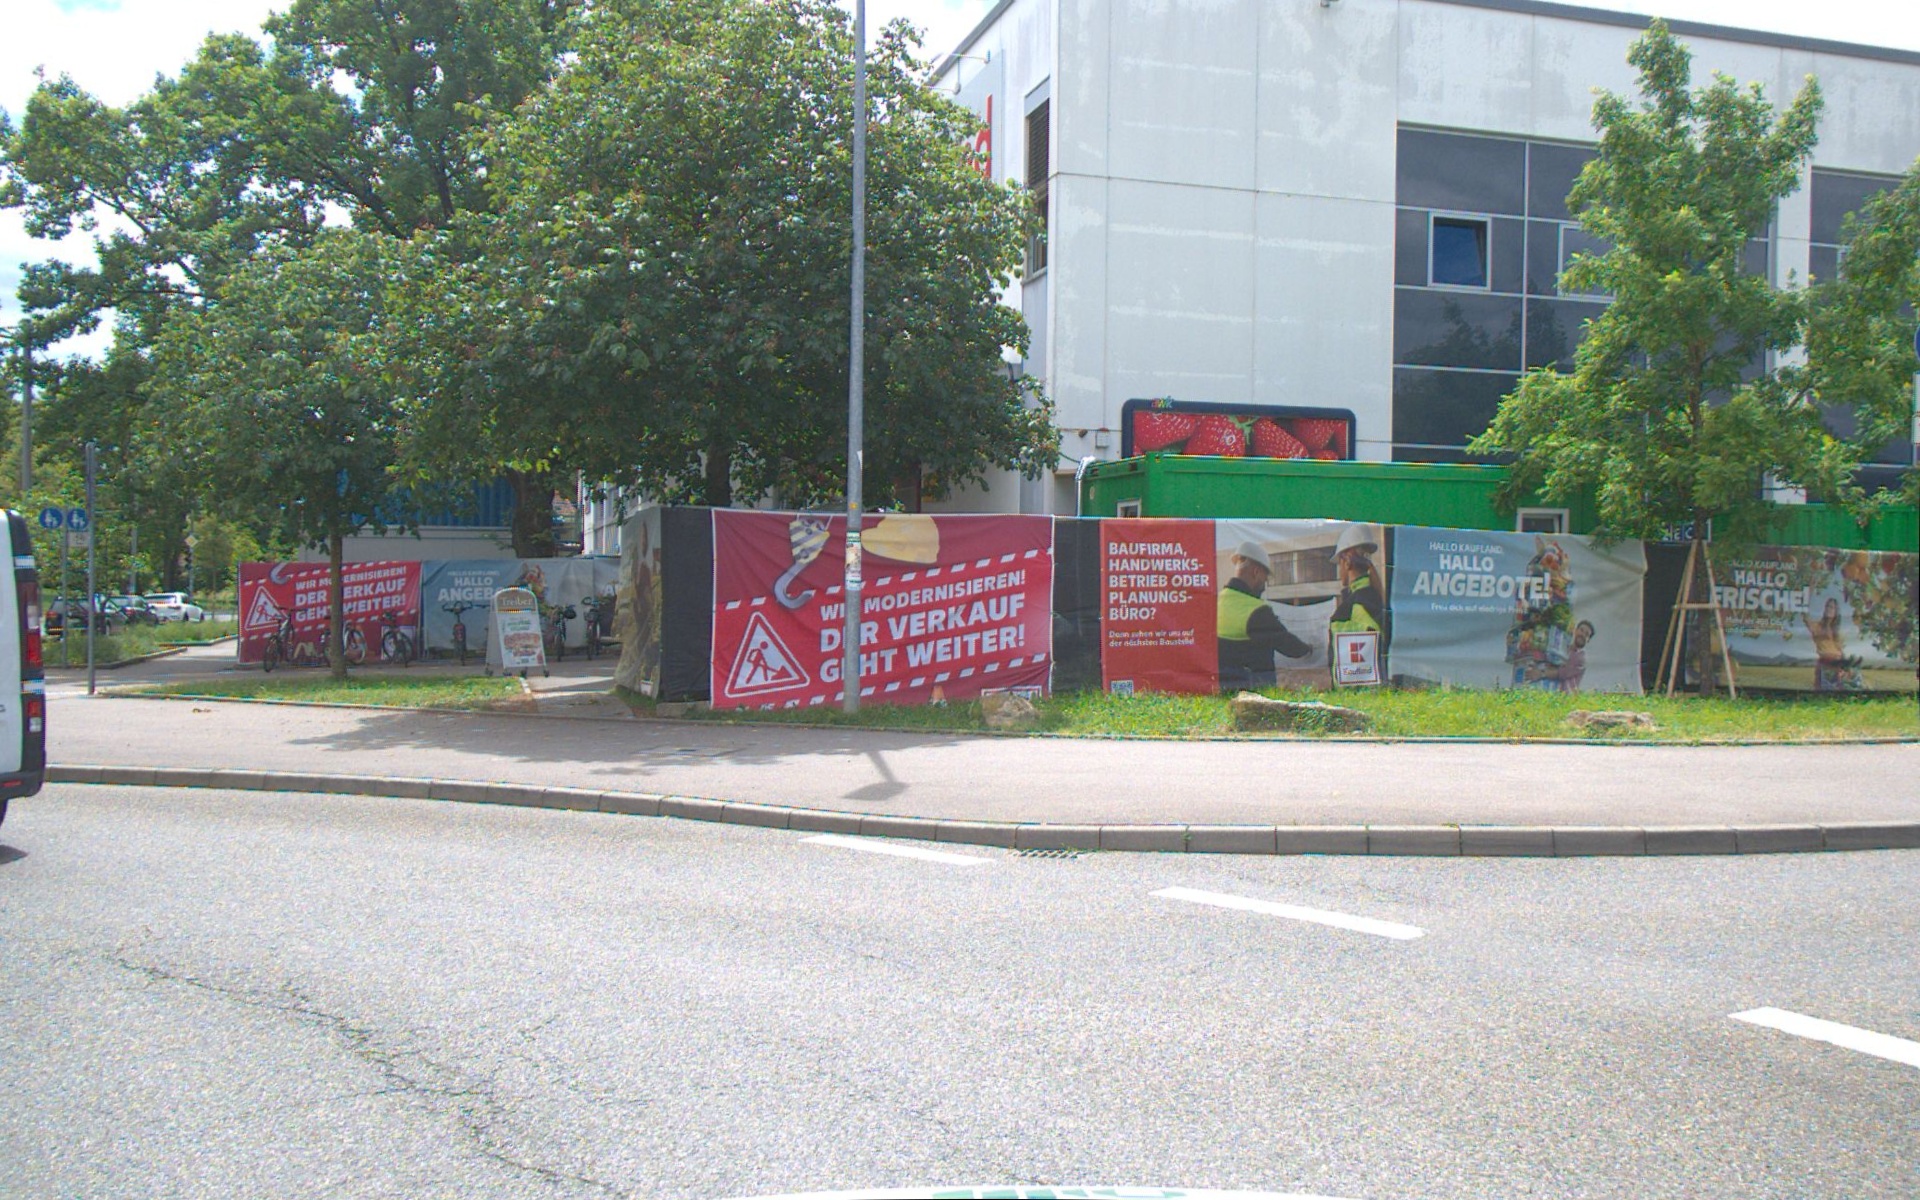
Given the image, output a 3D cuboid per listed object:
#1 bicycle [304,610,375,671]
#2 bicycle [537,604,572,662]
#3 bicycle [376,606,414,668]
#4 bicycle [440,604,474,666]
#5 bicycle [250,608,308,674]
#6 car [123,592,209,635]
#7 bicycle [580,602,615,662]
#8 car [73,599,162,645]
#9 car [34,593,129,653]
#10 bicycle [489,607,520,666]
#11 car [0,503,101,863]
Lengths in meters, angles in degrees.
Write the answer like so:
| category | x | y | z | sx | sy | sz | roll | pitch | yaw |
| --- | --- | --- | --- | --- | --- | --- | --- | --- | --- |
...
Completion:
| category | x | y | z | sx | sy | sz | roll | pitch | yaw |
| --- | --- | --- | --- | --- | --- | --- | --- | --- | --- |
| bicycle | -11.794 | 0.751 | 31.495 | 0.617 | 1.067 | 2.070 | 2 | 1 | -3 |
| bicycle | -8.038 | 0.637 | 32.798 | 0.619 | 1.068 | 1.962 | 2 | 1 | -14 |
| bicycle | -10.857 | 0.695 | 31.786 | 0.620 | 1.067 | 2.060 | 2 | 1 | -19 |
| bicycle | -9.814 | 0.658 | 32.295 | 0.520 | 1.113 | 2.063 | 2 | 1 | -15 |
| bicycle | -12.869 | 0.753 | 31.286 | 0.618 | 1.147 | 1.963 | 2 | 1 | -12 |
| car | -30.991 | 0.504 | 64.659 | 2.025 | 1.526 | 3.916 | 1 | 1 | -10 |
| bicycle | -7.153 | 0.619 | 32.693 | 0.618 | 1.083 | 1.963 | 2 | 1 | -12 |
| car | -30.295 | 0.760 | 59.610 | 2.028 | 1.502 | 3.910 | 1 | 1 | -15 |
| car | -28.788 | 0.730 | 54.286 | 1.866 | 1.775 | 3.910 | 1 | 1 | -15 |
| bicycle | -9.008 | 0.708 | 32.707 | 0.531 | 1.067 | 1.961 | 2 | 1 | -16 |
| car | -7.518 | 0.360 | 10.165 | 4.896 | 1.979 | 2.033 | 3 | 1 | 37 |
